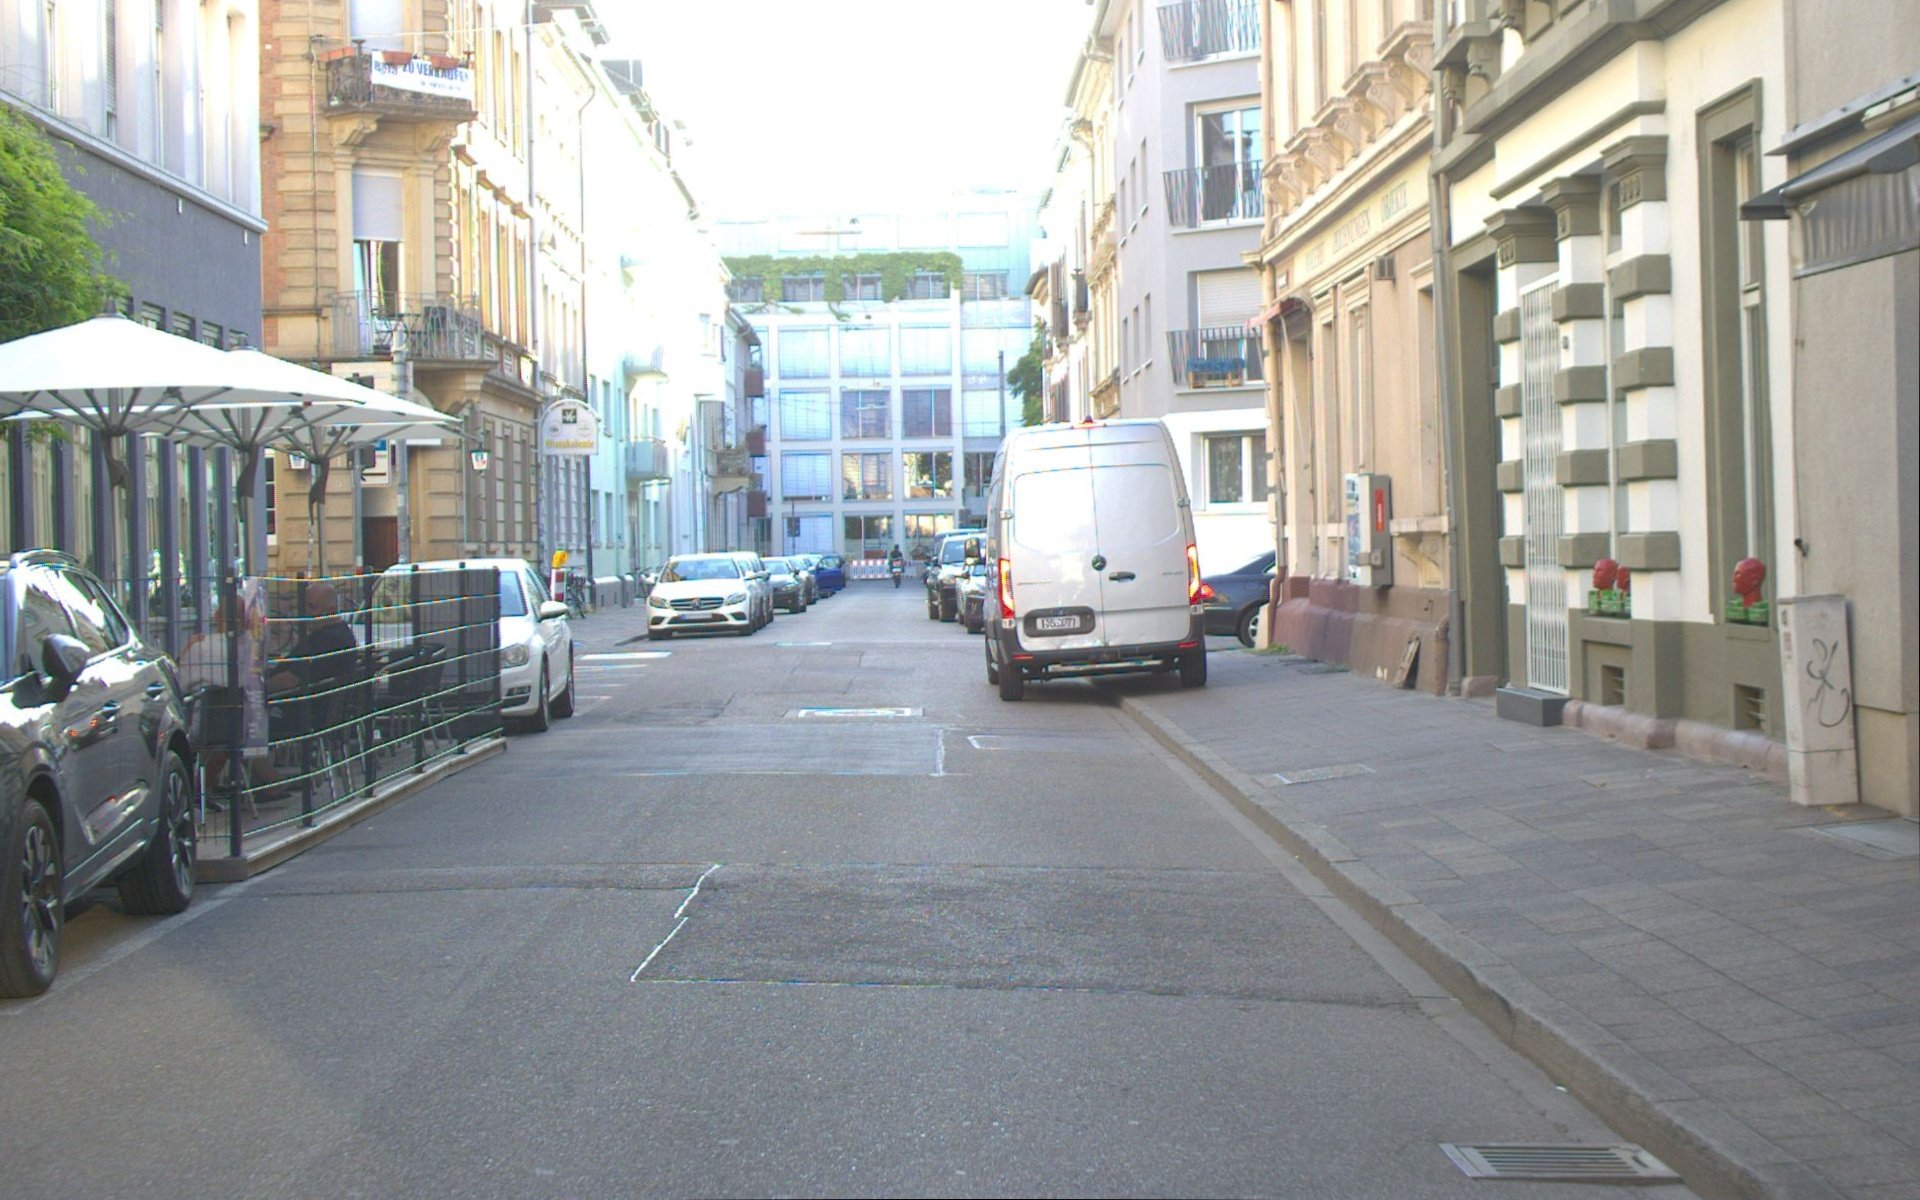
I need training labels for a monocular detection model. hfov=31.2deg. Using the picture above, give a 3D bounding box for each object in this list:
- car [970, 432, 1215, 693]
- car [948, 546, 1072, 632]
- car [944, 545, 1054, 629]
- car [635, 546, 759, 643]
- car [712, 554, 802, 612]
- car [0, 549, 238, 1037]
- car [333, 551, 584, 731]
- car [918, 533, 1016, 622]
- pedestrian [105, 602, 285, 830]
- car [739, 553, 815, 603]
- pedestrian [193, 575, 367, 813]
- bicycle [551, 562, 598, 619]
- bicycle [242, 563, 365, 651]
[{"bbox_3d":[1.266,-0.408,35.490,2.277,2.431,6.203,-1,1,0],"label":"car"},{"bbox_3d":[0.839,-0.221,60.042,1.938,1.367,3.789,-3,1,-2],"label":"car"},{"bbox_3d":[0.712,-0.276,66.112,1.963,1.552,3.889,-1,1,-1],"label":"car"},{"bbox_3d":[-4.645,-0.133,61.173,1.993,1.559,4.507,-3,1,-3],"label":"car"},{"bbox_3d":[-4.934,-0.438,83.999,1.993,1.350,4.429,-1,1,-1],"label":"car"},{"bbox_3d":[-4.184,0.638,13.395,1.881,1.563,4.771,-3,1,-3],"label":"car"},{"bbox_3d":[-4.210,0.306,29.353,1.657,1.409,3.883,-1,1,-2],"label":"car"},{"bbox_3d":[0.116,-0.491,71.525,1.893,1.778,4.000,-1,1,-2],"label":"car"},{"bbox_3d":[-4.061,0.603,18.282,0.553,1.161,0.740,-1,1,31],"label":"pedestrian"},{"bbox_3d":[-5.418,-0.668,101.768,2.172,1.413,4.001,-1,1,-3],"label":"car"},{"bbox_3d":[-3.826,0.515,19.404,0.781,1.282,0.915,-1,1,0],"label":"pedestrian"},{"bbox_3d":[-8.120,-0.210,72.455,0.737,1.156,2.461,0,1,-1],"label":"bicycle"},{"bbox_3d":[-10.017,0.102,52.509,1.757,1.270,0.661,-1,4,-4],"label":"bicycle"}]
